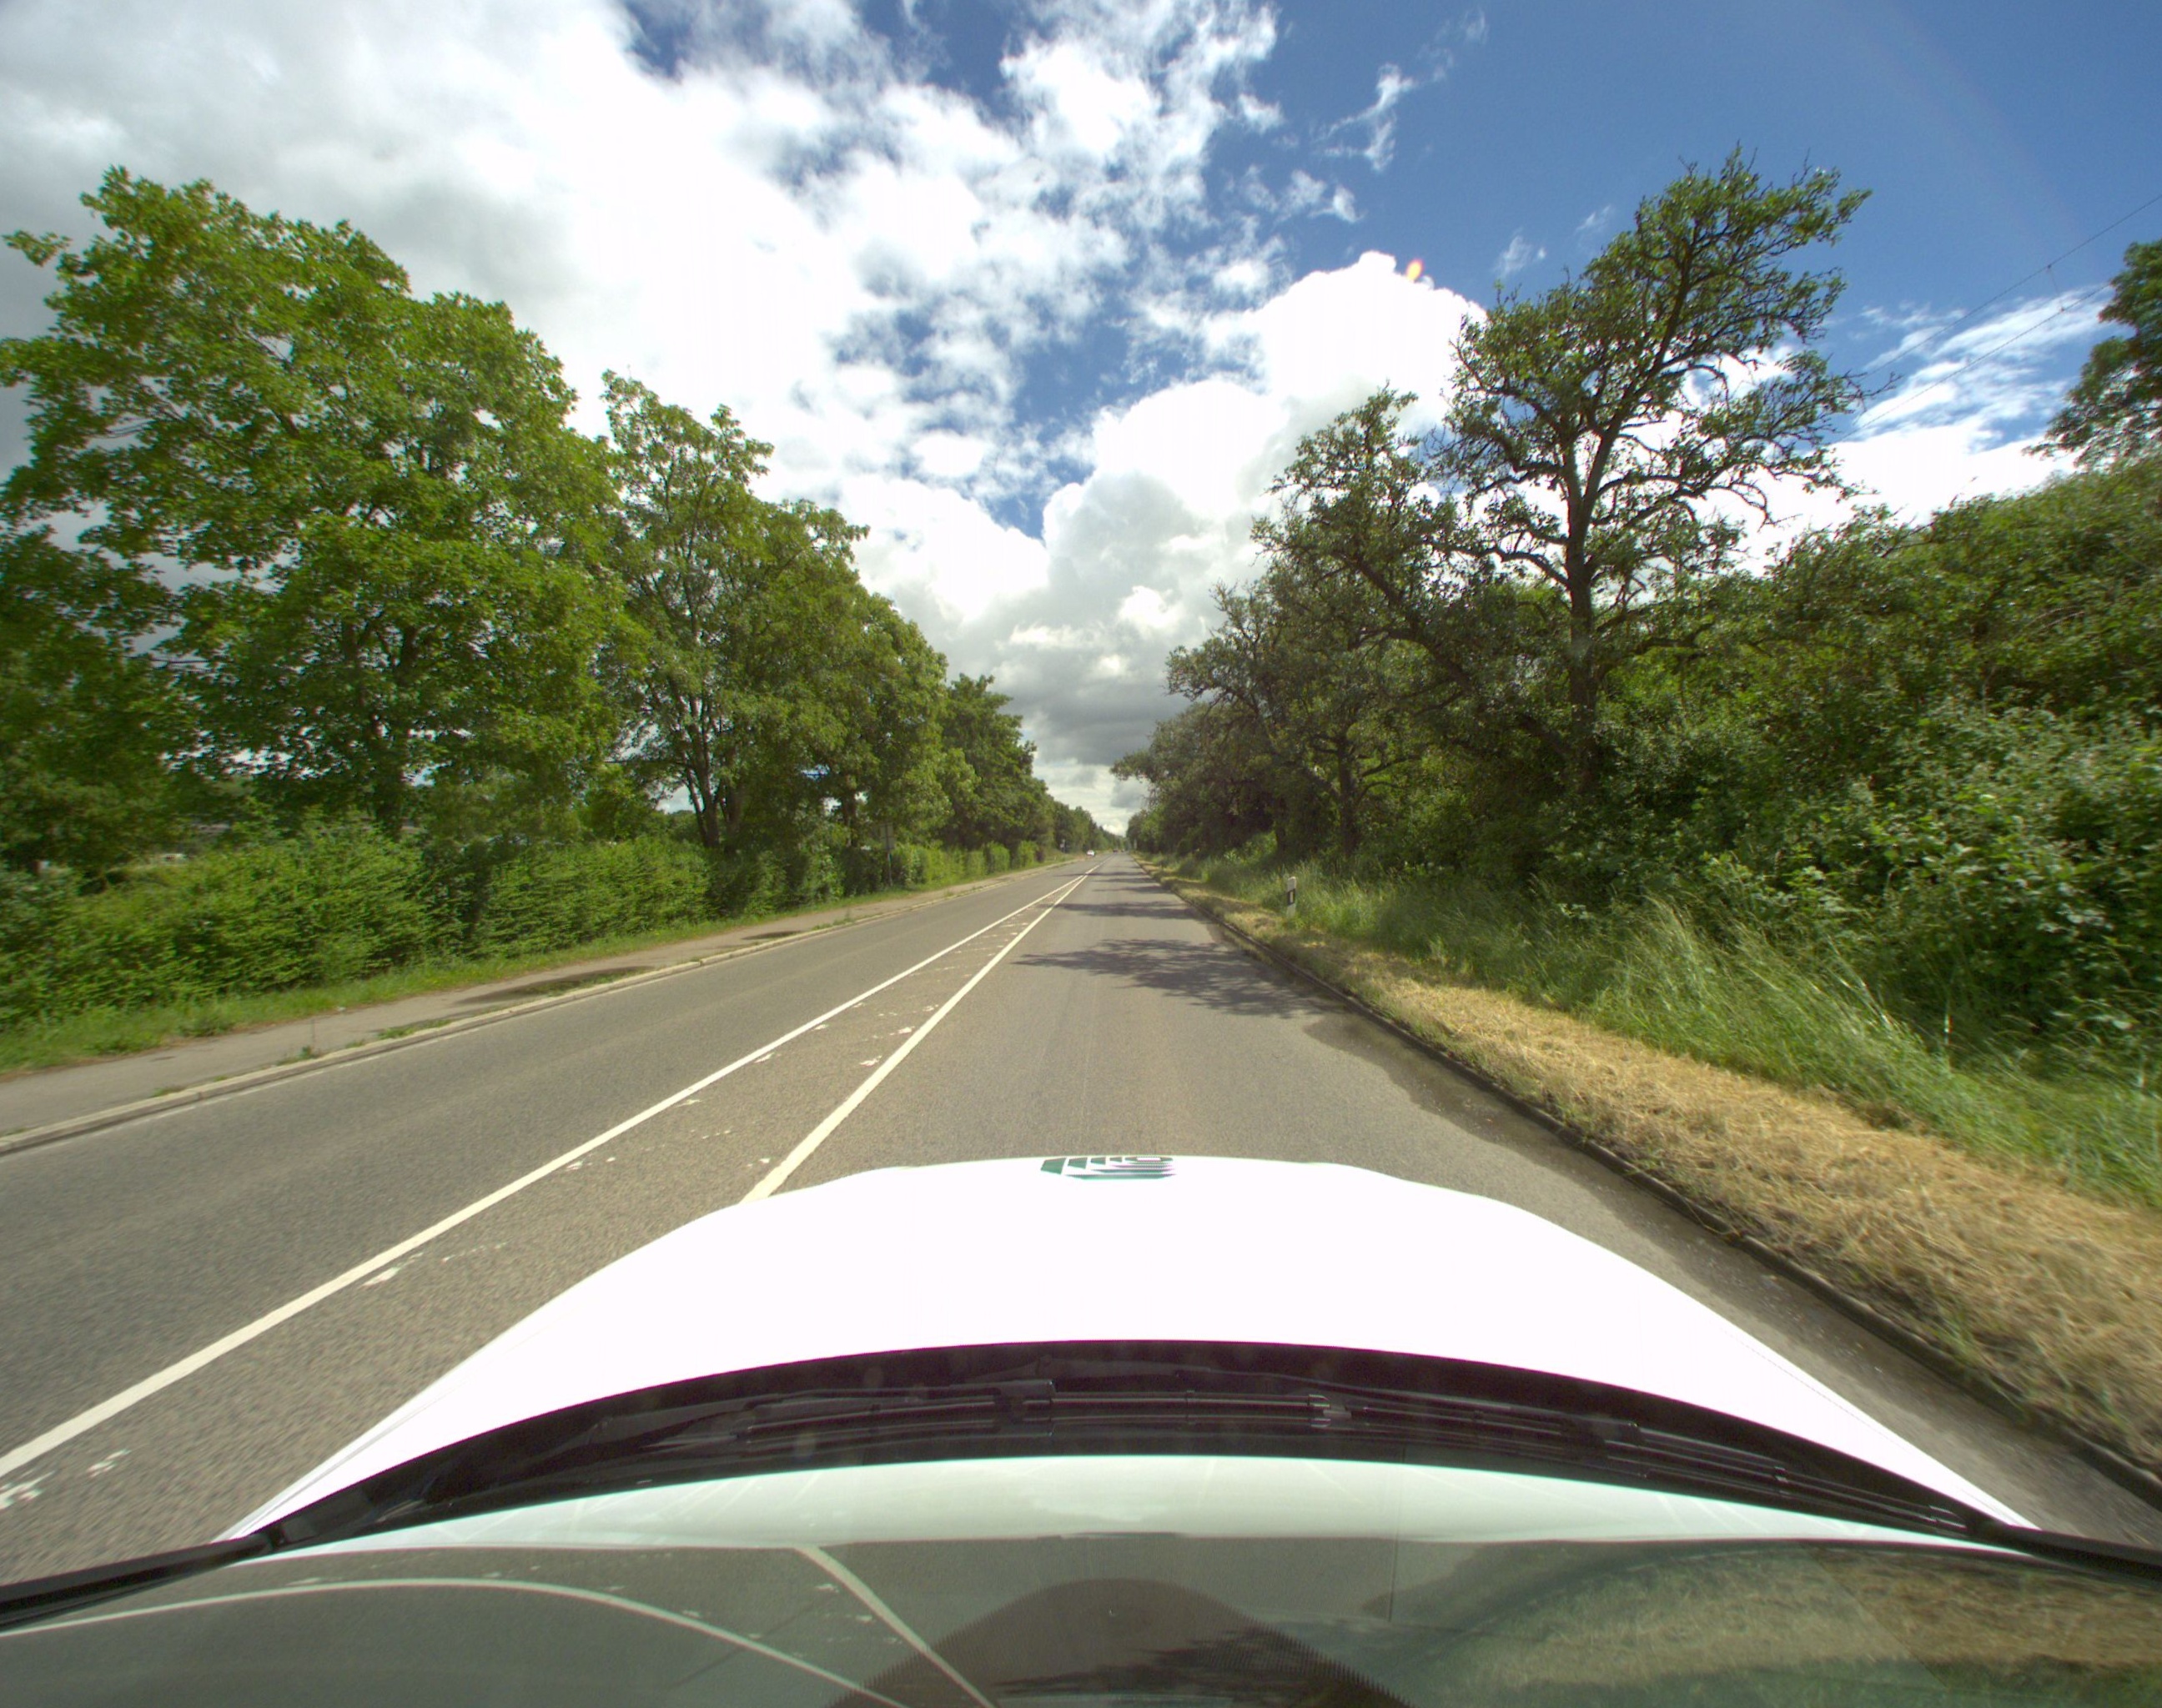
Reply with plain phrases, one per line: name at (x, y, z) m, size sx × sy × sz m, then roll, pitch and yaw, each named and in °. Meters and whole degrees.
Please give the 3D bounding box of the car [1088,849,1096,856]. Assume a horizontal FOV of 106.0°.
car at (2.902, -0.396, 209.885) m, size 1.790 × 1.543 × 3.958 m, roll -2°, pitch -1°, yaw 3°
